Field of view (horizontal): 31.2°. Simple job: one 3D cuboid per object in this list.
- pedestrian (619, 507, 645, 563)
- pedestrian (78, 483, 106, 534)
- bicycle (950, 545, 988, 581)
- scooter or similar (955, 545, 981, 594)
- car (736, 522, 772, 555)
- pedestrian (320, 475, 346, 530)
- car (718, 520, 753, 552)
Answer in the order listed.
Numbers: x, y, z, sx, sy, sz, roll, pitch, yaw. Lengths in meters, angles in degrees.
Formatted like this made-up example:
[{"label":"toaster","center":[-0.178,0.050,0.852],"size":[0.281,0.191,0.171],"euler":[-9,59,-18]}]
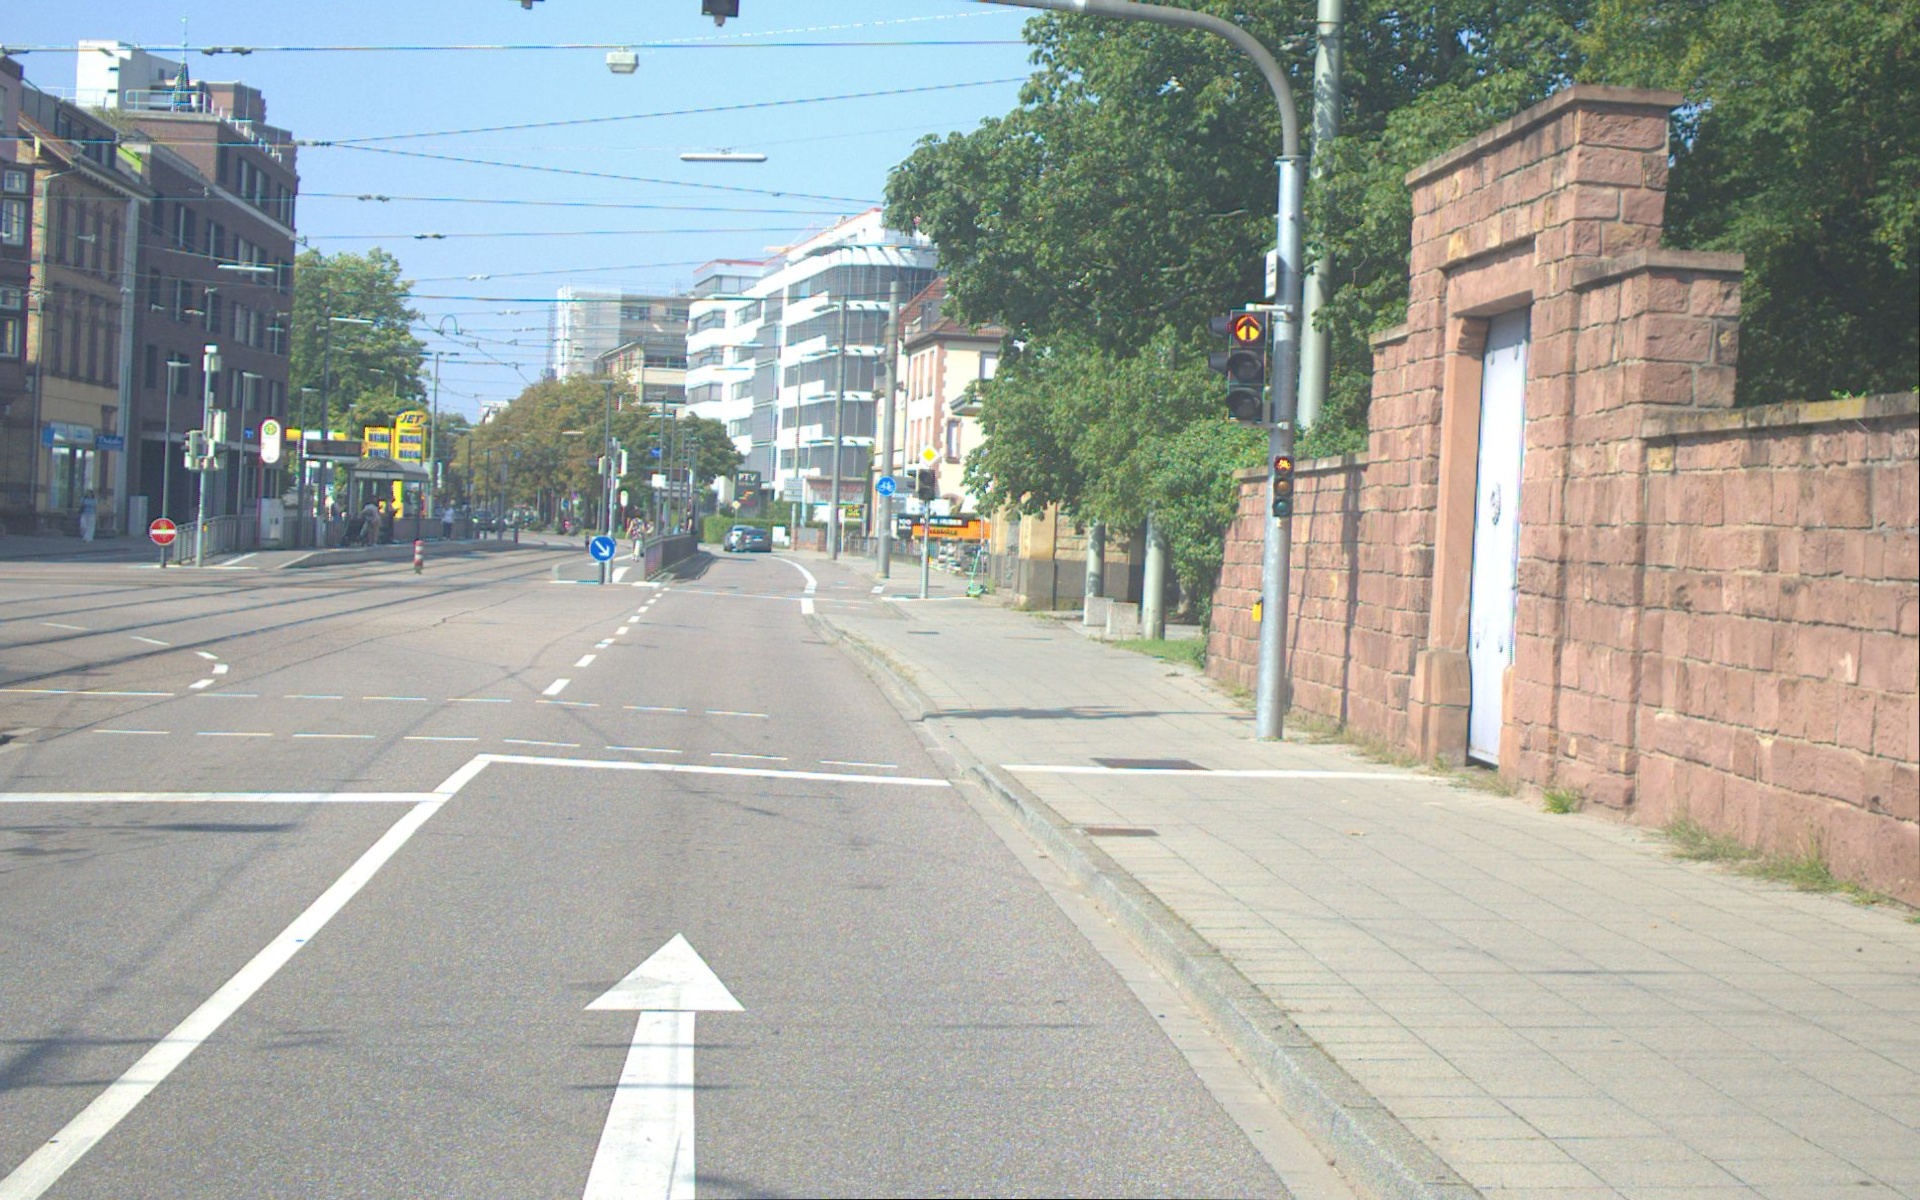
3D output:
[{"label":"pedestrian","center":[-10.132,-2.002,106.237],"size":[0.720,1.697,0.884],"euler":[1,1,-2]},{"label":"pedestrian","center":[-27.919,-2.941,110.561],"size":[0.483,1.554,0.887],"euler":[4,0,8]},{"label":"bicycle","center":[0.295,-1.229,112.879],"size":[0.731,1.129,2.841],"euler":[-1,1,-10]},{"label":"scooter or similar","center":[0.185,-0.726,80.947],"size":[0.523,1.129,1.511],"euler":[1,1,-3]},{"label":"car","center":[-12.080,-3.600,201.907],"size":[2.011,1.852,4.000],"euler":[1,1,-2]},{"label":"pedestrian","center":[-20.082,-3.124,110.150],"size":[0.708,1.717,0.799],"euler":[1,1,-3]},{"label":"car","center":[-13.574,-3.883,208.043],"size":[2.011,1.852,4.000],"euler":[1,1,-2]}]
